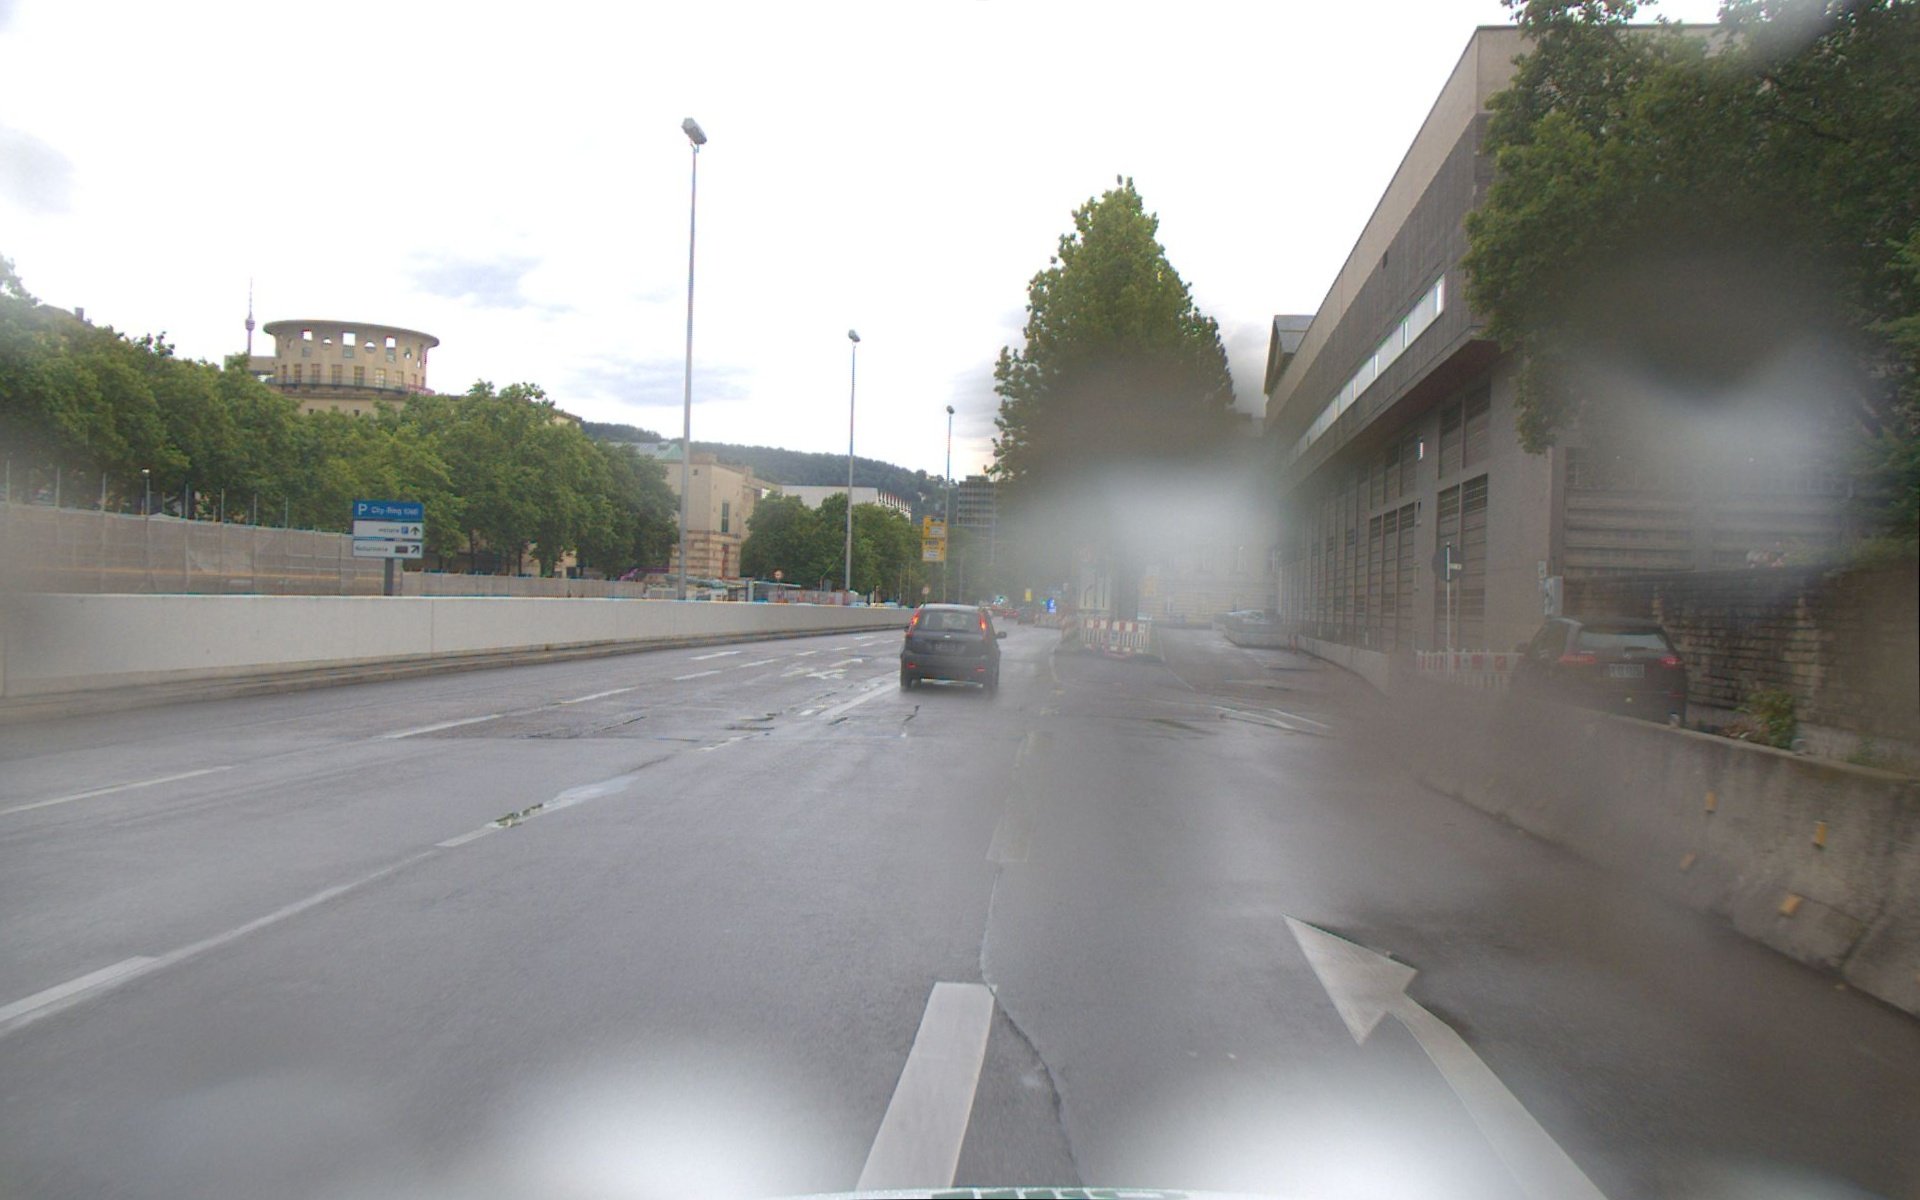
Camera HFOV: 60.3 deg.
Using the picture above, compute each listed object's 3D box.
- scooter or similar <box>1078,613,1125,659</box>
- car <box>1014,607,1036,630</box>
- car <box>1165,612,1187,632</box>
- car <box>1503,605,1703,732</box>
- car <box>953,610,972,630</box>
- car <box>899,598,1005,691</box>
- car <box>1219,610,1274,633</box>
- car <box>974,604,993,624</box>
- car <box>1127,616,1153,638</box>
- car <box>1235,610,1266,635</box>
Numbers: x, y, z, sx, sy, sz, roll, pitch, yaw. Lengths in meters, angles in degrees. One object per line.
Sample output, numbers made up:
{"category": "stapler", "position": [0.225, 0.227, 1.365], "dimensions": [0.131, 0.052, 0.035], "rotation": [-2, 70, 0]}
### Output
{"category": "scooter or similar", "position": [4.269, 1.090, 49.782], "dimensions": [1.327, 1.308, 0.619], "rotation": [4, -2, 6]}
{"category": "car", "position": [6.487, 1.816, 163.795], "dimensions": [1.952, 2.048, 4.002], "rotation": [3, 0, 4]}
{"category": "car", "position": [20.890, 2.145, 159.795], "dimensions": [1.951, 1.738, 4.003], "rotation": [3, -1, 9]}
{"category": "car", "position": [9.065, 0.908, 23.669], "dimensions": [1.766, 1.579, 4.329], "rotation": [2, 0, 9]}
{"category": "car", "position": [0.210, 1.454, 120.175], "dimensions": [1.357, 1.411, 3.067], "rotation": [1, -1, 0]}
{"category": "car", "position": [-0.084, 0.735, 29.285], "dimensions": [1.635, 1.452, 3.759], "rotation": [3, 0, 2]}
{"category": "car", "position": [21.349, 1.611, 123.488], "dimensions": [3.903, 1.587, 1.934], "rotation": [0, -3, 5]}
{"category": "car", "position": [2.663, 1.590, 187.388], "dimensions": [1.953, 2.049, 3.999], "rotation": [4, -2, 0]}
{"category": "car", "position": [15.101, 2.246, 138.709], "dimensions": [1.951, 1.738, 4.003], "rotation": [3, 1, 9]}
{"category": "car", "position": [23.007, 1.791, 131.328], "dimensions": [1.951, 1.791, 5.099], "rotation": [1, -2, 5]}
